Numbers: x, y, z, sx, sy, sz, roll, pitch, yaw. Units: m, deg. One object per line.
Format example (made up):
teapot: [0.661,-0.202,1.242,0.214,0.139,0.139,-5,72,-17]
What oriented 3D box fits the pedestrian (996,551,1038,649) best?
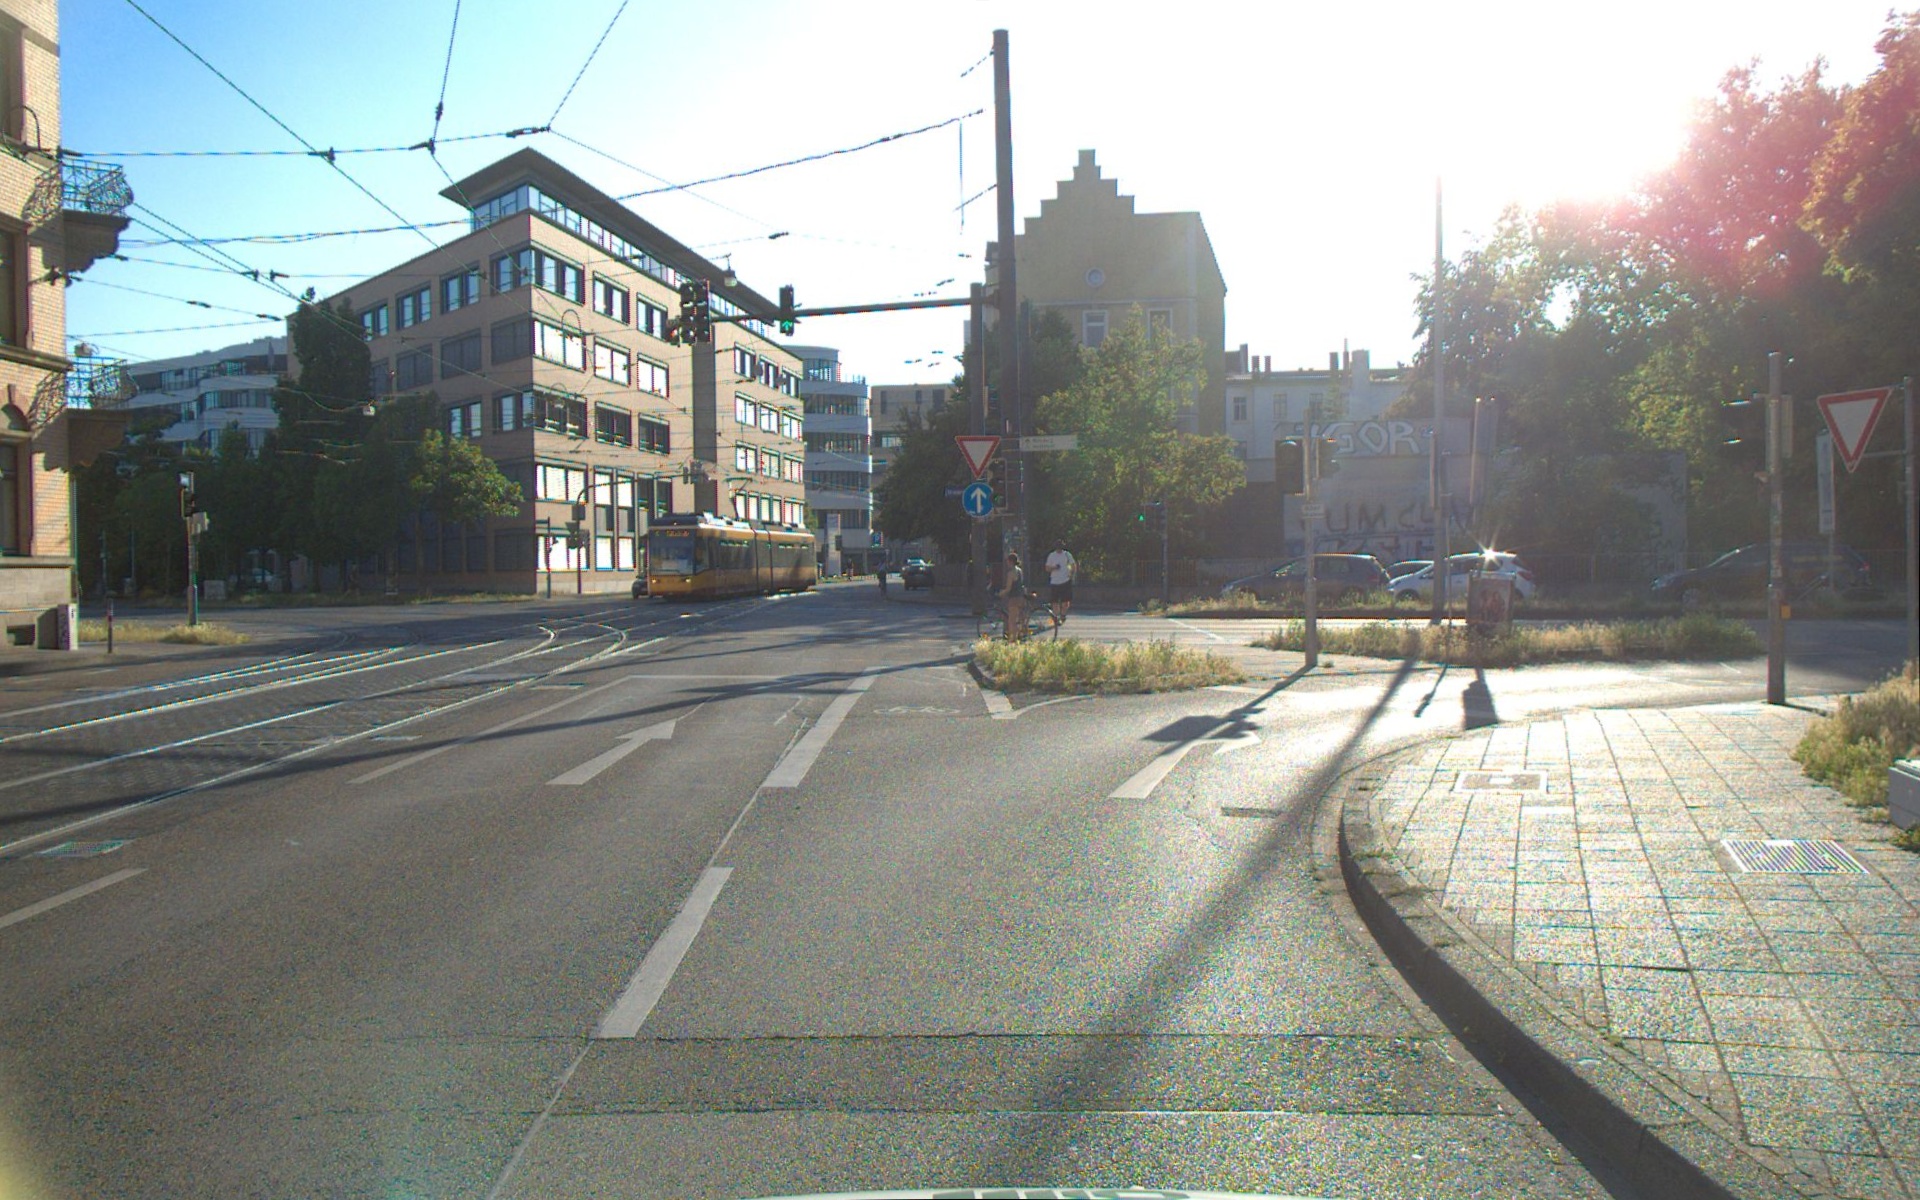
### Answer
pedestrian: [0.976,-0.005,28.345,0.516,1.660,0.487,0,1,41]

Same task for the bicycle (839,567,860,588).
bicycle: [-8.793,-1.802,131.894,1.008,1.680,2.563,-1,1,10]

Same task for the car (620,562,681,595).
car: [-14.111,-0.993,75.634,1.771,1.404,4.165,-1,1,3]

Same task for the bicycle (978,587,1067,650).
bicycle: [1.060,0.306,28.429,1.642,1.047,0.397,0,1,42]

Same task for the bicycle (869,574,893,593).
bicycle: [-3.689,-0.776,77.087,0.680,0.892,2.029,-1,1,10]

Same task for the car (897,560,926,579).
car: [-4.314,-2.750,147.038,1.777,1.642,4.469,-1,1,8]

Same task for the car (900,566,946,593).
car: [-2.032,-1.155,92.333,1.747,1.412,4.004,-1,1,10]

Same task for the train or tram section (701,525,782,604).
train or tram section: [-10.404,-1.687,79.094,2.800,3.569,5.306,-1,1,4]

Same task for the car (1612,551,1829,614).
car: [16.734,-0.386,36.602,4.274,1.319,1.724,0,1,23]

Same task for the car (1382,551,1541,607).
car: [12.885,-0.539,42.434,3.801,1.342,1.725,-1,1,21]

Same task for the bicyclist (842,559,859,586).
bicyclist: [-8.751,-2.193,132.034,1.008,2.049,1.248,1,0,10]

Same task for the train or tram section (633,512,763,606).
train or tram section: [-10.842,-1.702,70.013,2.801,3.569,13.021,-1,1,3]

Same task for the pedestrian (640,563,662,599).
pedestrian: [-17.967,-1.106,96.038,0.987,2.049,0.872,-1,1,9]

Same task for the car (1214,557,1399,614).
car: [8.451,-0.348,40.348,4.150,1.319,1.724,0,1,24]

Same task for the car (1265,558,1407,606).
car: [10.856,-0.523,47.786,3.801,1.319,1.725,-1,1,21]

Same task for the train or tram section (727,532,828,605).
train or tram section: [-9.489,-1.662,87.456,2.800,3.569,11.307,-1,1,7]

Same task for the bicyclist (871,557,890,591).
bicyclist: [-3.703,-1.200,77.040,0.659,1.548,0.814,-1,1,10]

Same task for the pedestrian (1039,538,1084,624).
pedestrian: [2.207,-0.420,35.799,0.889,1.820,0.828,-1,1,7]

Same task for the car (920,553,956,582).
car: [-1.477,-2.193,111.517,1.951,1.847,4.003,1,0,6]
